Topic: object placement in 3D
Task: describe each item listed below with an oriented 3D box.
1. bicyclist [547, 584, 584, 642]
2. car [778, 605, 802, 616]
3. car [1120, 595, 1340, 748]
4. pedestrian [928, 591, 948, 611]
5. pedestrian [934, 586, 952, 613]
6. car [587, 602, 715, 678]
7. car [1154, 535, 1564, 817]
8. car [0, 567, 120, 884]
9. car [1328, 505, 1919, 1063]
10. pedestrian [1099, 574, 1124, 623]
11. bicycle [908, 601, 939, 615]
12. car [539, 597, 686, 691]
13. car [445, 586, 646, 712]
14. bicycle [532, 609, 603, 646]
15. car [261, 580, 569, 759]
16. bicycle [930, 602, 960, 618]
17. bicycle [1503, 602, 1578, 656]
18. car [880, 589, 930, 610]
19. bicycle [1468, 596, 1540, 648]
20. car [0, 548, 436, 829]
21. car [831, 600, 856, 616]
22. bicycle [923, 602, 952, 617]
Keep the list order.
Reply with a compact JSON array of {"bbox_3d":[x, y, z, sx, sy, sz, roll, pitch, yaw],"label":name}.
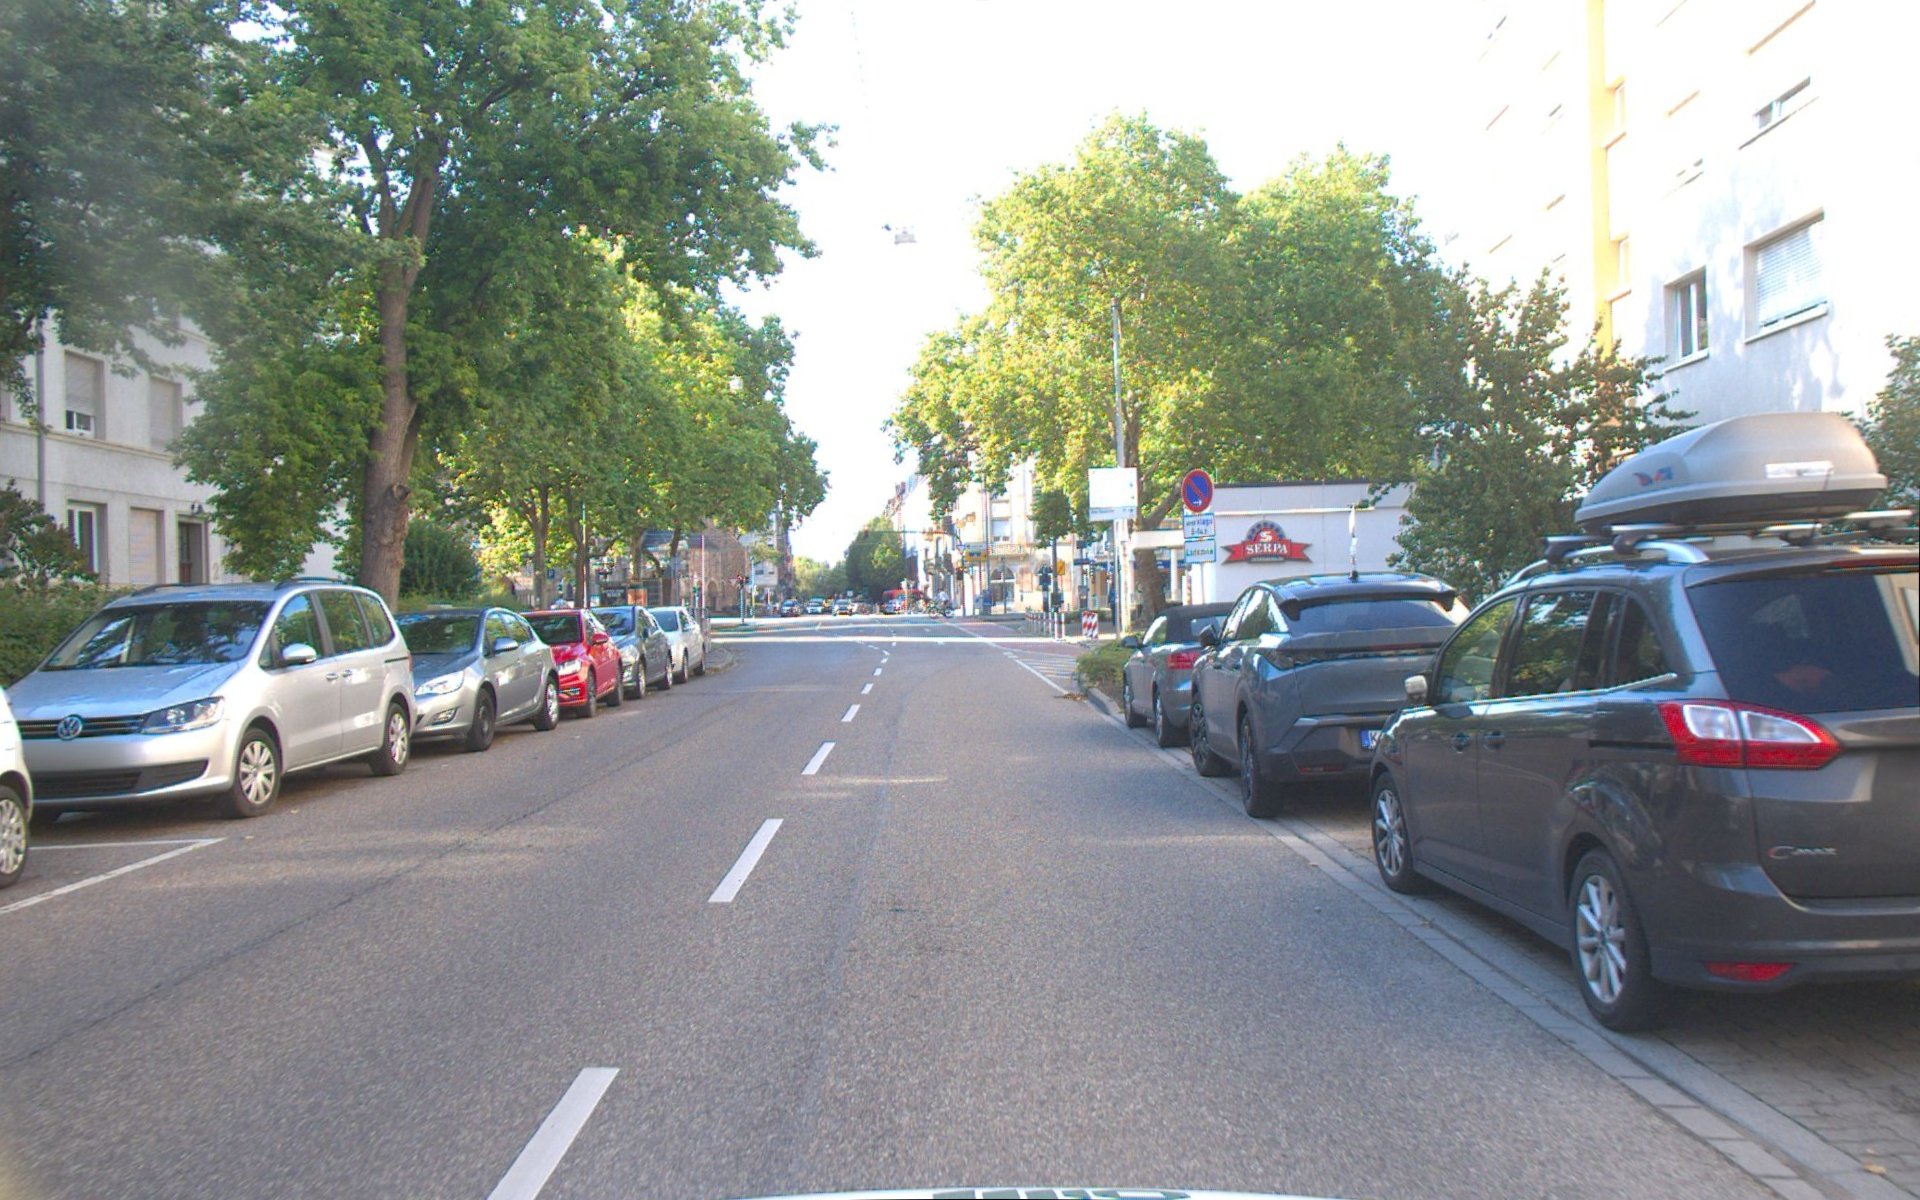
[{"bbox_3d":[-14.077,0.464,59.019,0.957,2.049,0.795,0,-2,34],"label":"bicyclist"},{"bbox_3d":[-19.006,1.144,185.184,1.560,1.164,3.386,0,-1,14],"label":"car"},{"bbox_3d":[2.851,0.743,18.282,1.705,1.499,3.999,1,-1,-1],"label":"car"},{"bbox_3d":[-1.423,0.070,106.908,1.029,1.300,0.790,0,-2,30],"label":"pedestrian"},{"bbox_3d":[-1.095,-0.023,104.876,0.971,1.738,0.628,0,-1,25],"label":"pedestrian"},{"bbox_3d":[-6.031,0.788,32.783,1.733,1.376,4.709,1,-1,-1],"label":"car"},{"bbox_3d":[2.788,0.520,12.743,1.888,1.688,4.676,-2,-1,-1],"label":"car"},{"bbox_3d":[-5.719,0.636,7.433,1.833,1.586,4.099,-2,-1,-1],"label":"car"},{"bbox_3d":[3.077,0.545,7.218,1.859,1.680,4.341,-1,0,-1],"label":"car"},{"bbox_3d":[6.533,-0.058,71.261,0.810,2.048,1.152,-4,-1,-2],"label":"pedestrian"},{"bbox_3d":[-3.346,0.737,150.555,2.750,1.225,0.509,1,-1,-8],"label":"bicycle"},{"bbox_3d":[-5.800,0.731,28.018,1.669,1.465,4.127,1,-1,-1],"label":"car"},{"bbox_3d":[-5.641,0.659,22.986,1.833,1.586,3.999,1,-1,-1],"label":"car"},{"bbox_3d":[-14.018,0.994,59.110,0.990,1.286,2.476,0,-1,33],"label":"bicycle"},{"bbox_3d":[-5.652,0.696,17.791,1.833,1.585,4.495,-3,-1,-1],"label":"car"},{"bbox_3d":[-0.954,0.639,104.781,1.748,0.999,0.656,0,-1,25],"label":"bicycle"},{"bbox_3d":[11.297,0.549,32.244,0.623,0.941,2.229,1,1,-1],"label":"bicycle"},{"bbox_3d":[-5.634,0.013,170.949,4.957,2.049,2.135,2,-2,-41],"label":"car"},{"bbox_3d":[10.606,0.414,32.311,0.623,0.941,2.229,1,1,-1],"label":"bicycle"},{"bbox_3d":[-5.778,0.614,12.831,1.877,1.707,4.972,-2,-1,-1],"label":"car"},{"bbox_3d":[-11.228,0.756,159.682,1.553,1.488,3.186,0,-1,12],"label":"car"},{"bbox_3d":[-1.444,0.605,106.946,1.747,0.911,0.749,-1,0,29],"label":"bicycle"}]
